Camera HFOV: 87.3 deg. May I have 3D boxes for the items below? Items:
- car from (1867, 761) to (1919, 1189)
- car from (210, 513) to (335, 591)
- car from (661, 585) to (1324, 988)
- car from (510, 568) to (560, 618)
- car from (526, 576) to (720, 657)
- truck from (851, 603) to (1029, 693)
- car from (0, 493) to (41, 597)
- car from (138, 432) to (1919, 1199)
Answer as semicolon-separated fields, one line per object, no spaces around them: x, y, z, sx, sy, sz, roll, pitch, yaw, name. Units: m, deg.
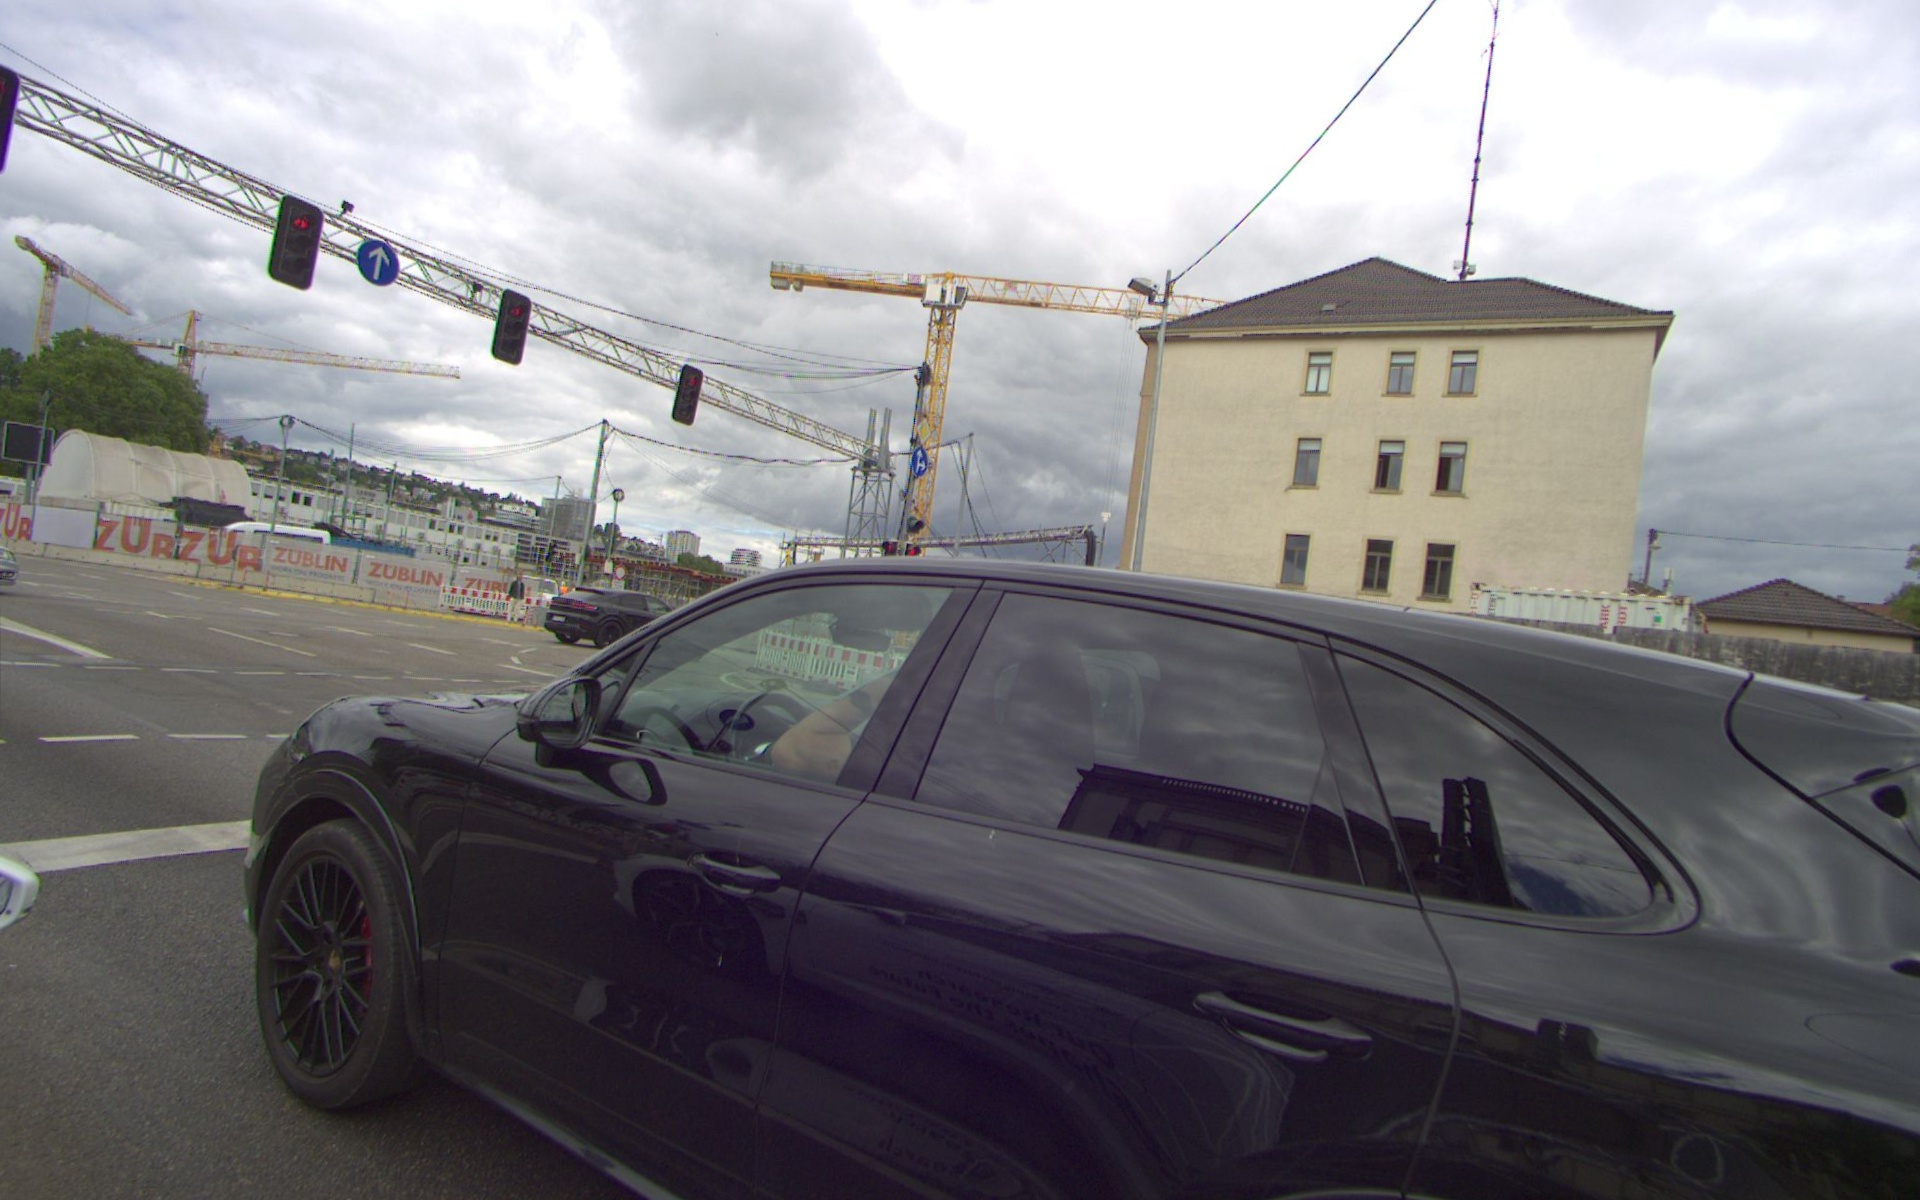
5.765;1.677;2.565;4.729;1.644;1.828;6;-2;32;car
-29.575;-2.039;43.366;1.660;2.692;3.979;6;-2;45;car
0.113;0.977;6.659;3.934;1.644;1.679;6;-2;32;car
-19.164;-0.322;45.294;1.757;1.976;3.108;8;-2;-25;car
-9.278;0.529;28.122;1.988;1.643;4.816;6;-2;33;car
-0.581;2.137;42.205;2.584;2.835;8.998;7;-2;33;truck
-17.120;-1.171;14.949;1.652;1.643;4.723;6;-2;29;car
-0.046;0.644;2.663;4.410;1.735;1.828;6;-2;32;car
